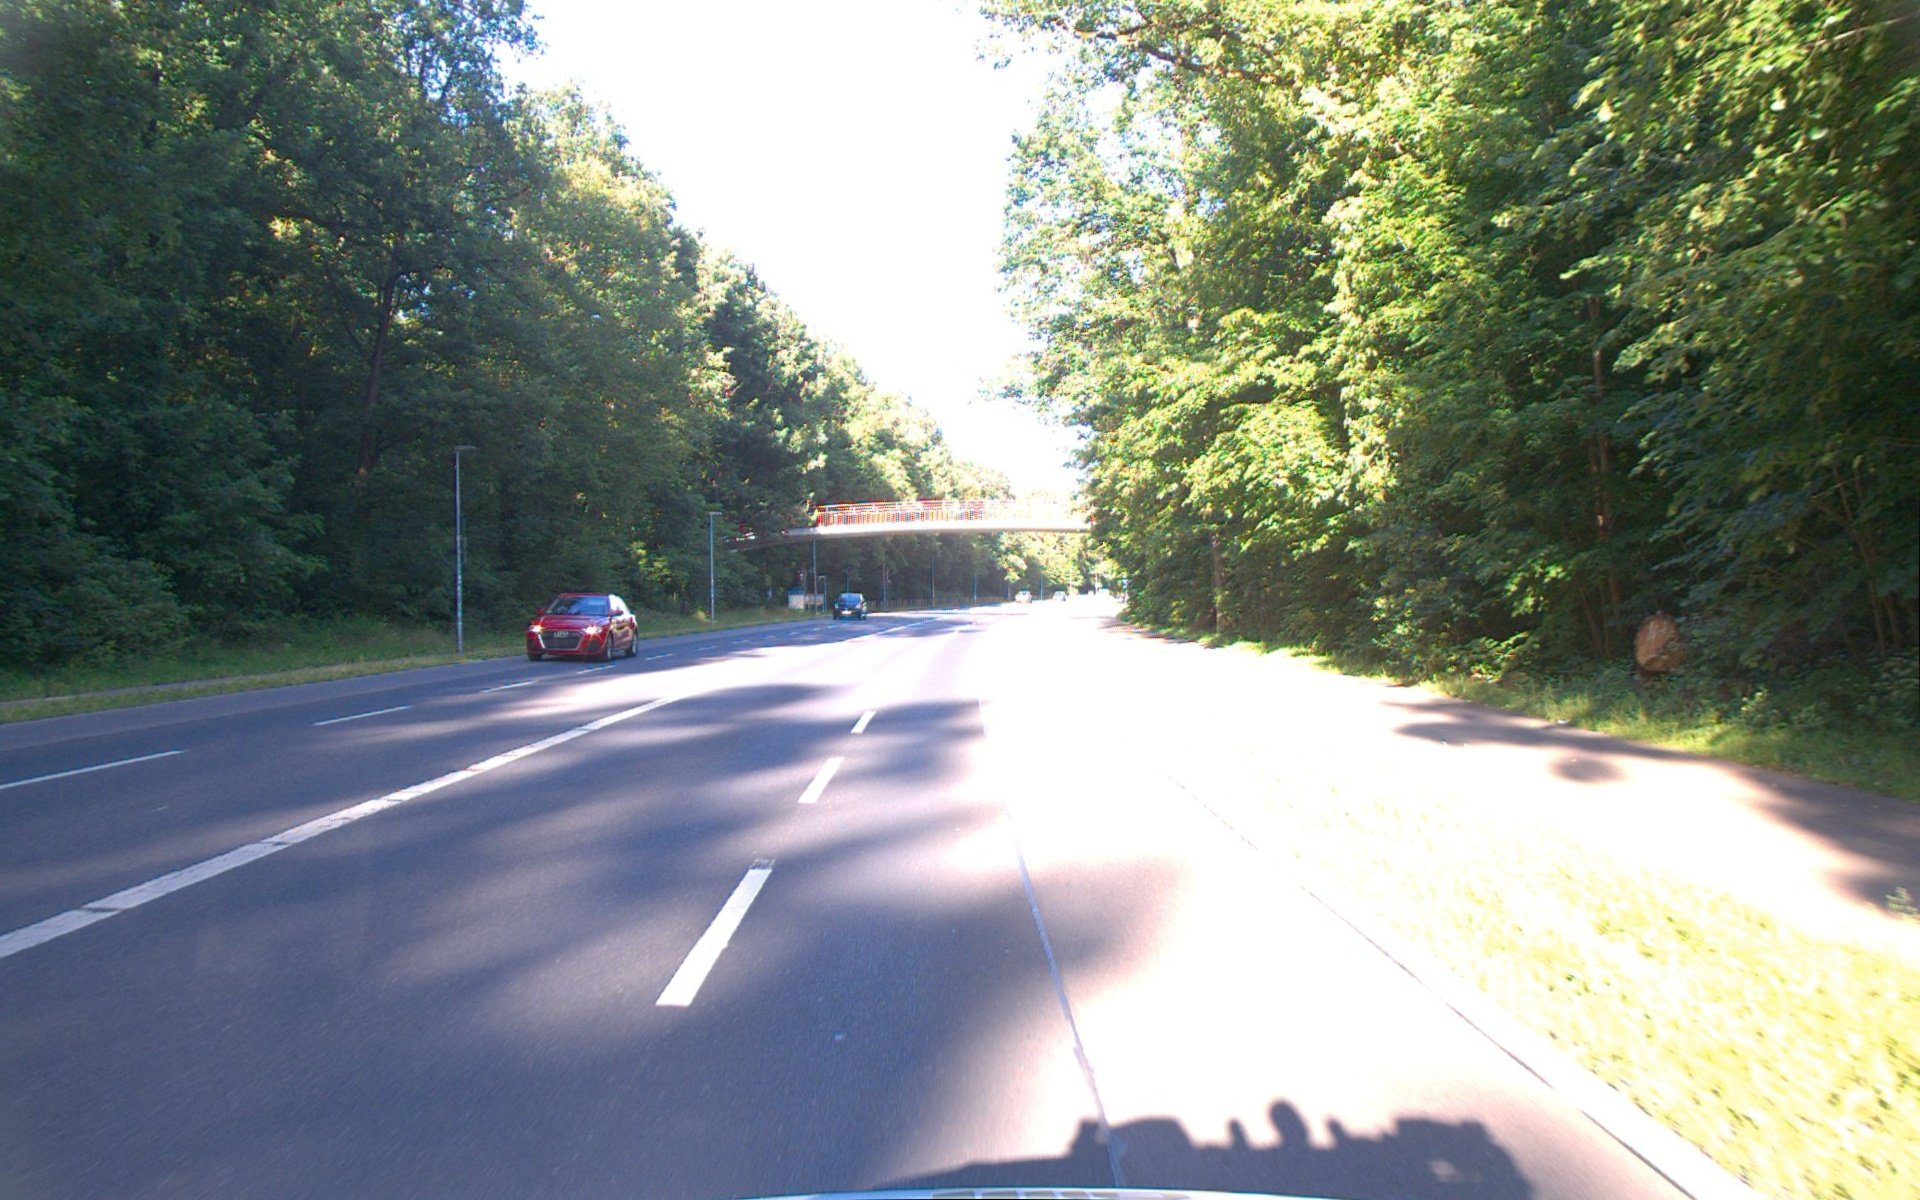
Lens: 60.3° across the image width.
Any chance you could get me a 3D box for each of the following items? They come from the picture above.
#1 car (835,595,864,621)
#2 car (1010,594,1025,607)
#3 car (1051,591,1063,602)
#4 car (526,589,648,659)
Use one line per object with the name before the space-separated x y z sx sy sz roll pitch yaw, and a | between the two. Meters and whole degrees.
car | -6.158 0.432 92.259 1.465 1.470 3.499 0 0 -1
car | 7.591 0.089 219.390 1.724 1.610 4.171 1 0 5
car | 15.172 -0.527 257.726 1.686 1.601 4.180 2 0 6
car | -8.099 0.478 36.242 1.674 1.448 4.131 0 0 1
